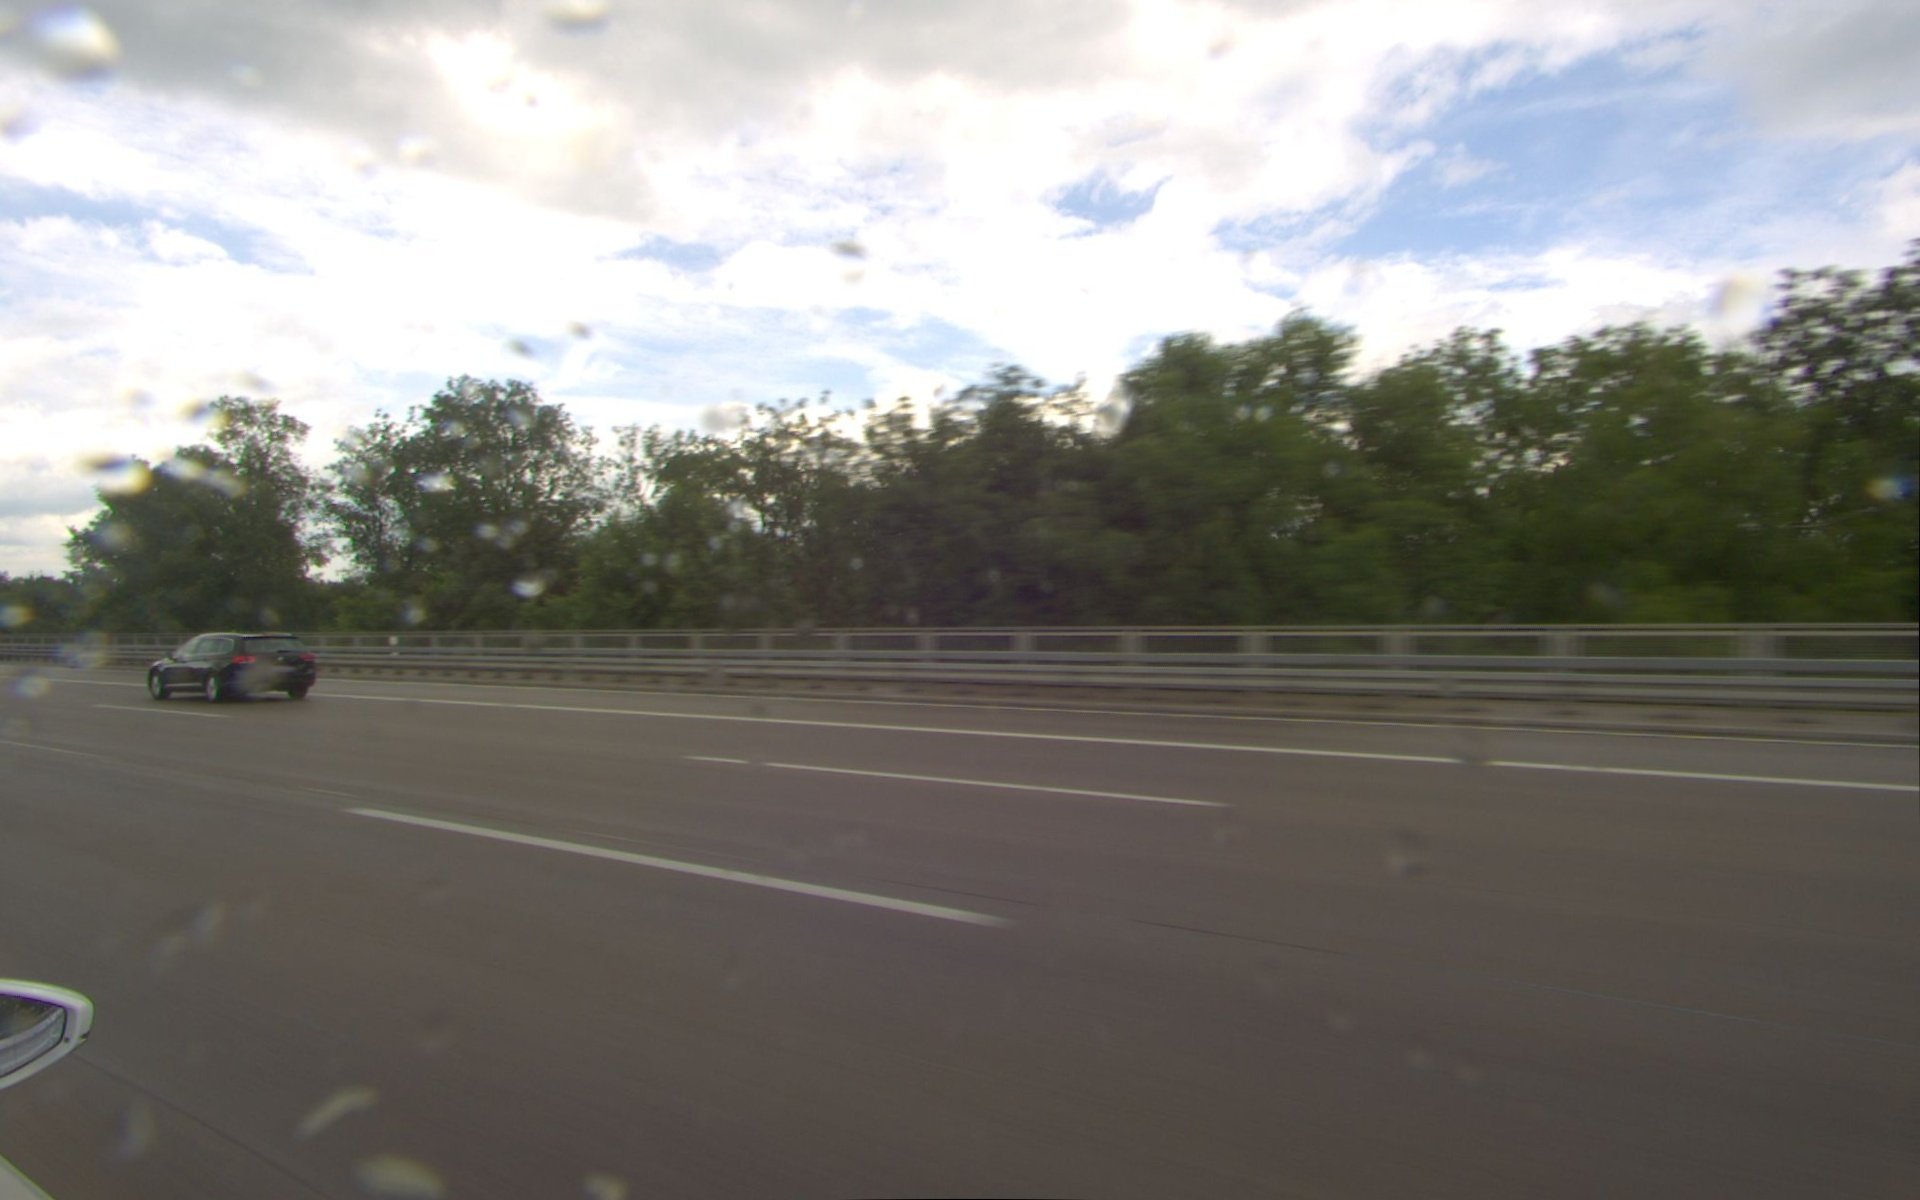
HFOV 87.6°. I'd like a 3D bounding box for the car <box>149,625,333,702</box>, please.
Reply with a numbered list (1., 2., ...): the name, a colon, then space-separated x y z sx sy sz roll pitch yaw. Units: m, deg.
1. car: -16.056 1.348 22.316 4.294 1.563 1.812 -1 -1 31
